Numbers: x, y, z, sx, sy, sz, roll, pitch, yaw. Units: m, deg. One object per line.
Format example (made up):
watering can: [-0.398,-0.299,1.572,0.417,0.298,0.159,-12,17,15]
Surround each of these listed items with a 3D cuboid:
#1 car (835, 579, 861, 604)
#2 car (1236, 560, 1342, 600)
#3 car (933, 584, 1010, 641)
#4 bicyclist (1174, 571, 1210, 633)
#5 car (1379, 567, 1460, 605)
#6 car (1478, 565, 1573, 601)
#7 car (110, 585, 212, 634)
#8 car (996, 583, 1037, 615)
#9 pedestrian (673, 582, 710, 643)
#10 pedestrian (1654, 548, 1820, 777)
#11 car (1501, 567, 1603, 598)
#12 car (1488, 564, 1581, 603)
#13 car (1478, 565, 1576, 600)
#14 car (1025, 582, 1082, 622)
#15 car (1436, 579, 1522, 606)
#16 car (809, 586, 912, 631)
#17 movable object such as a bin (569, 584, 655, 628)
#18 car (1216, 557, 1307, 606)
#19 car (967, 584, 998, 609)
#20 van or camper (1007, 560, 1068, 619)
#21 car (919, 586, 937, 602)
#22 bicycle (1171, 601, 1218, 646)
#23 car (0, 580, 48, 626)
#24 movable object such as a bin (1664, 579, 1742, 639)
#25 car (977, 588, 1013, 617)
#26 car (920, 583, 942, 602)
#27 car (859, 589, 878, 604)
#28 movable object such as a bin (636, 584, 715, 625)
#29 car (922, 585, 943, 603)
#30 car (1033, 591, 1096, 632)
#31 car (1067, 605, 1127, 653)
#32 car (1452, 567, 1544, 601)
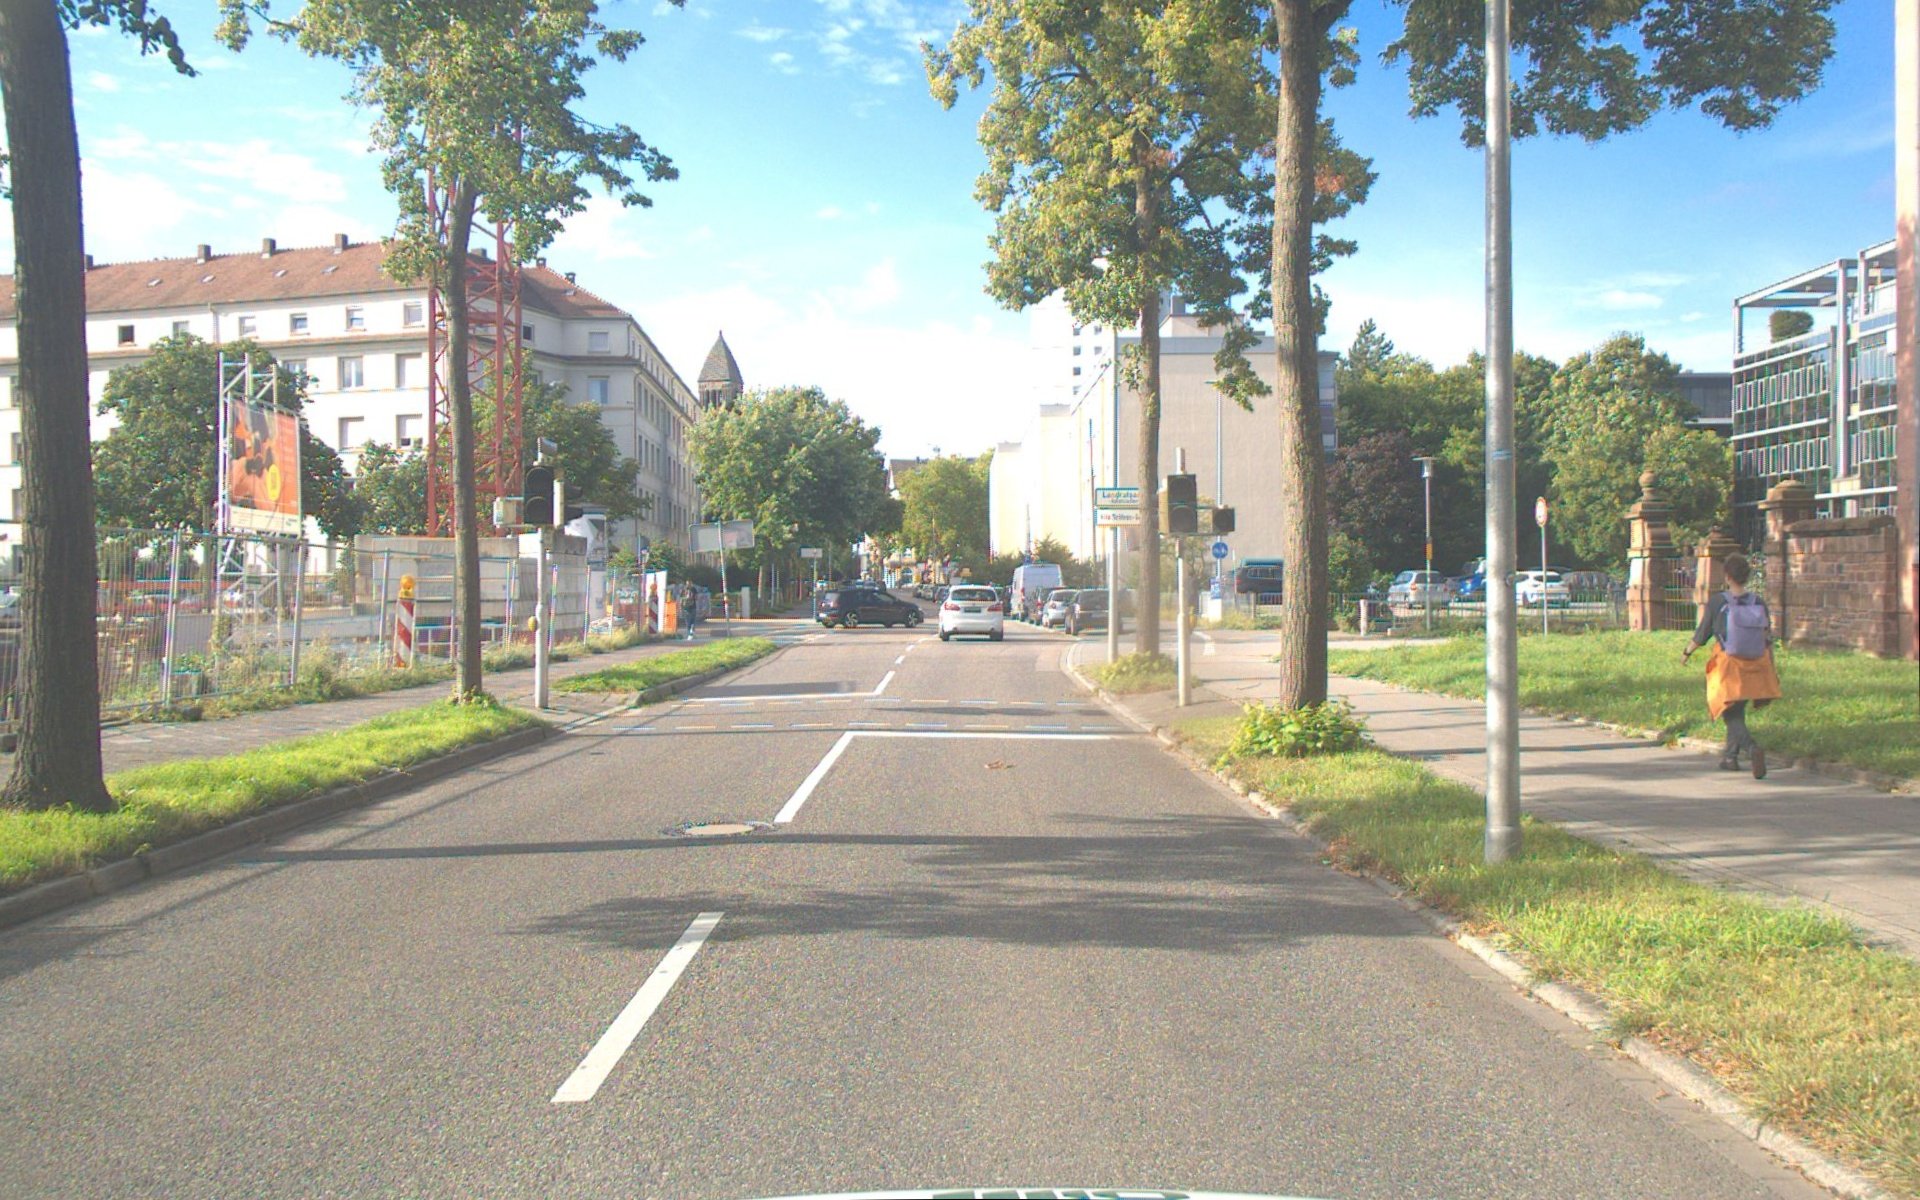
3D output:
car: [-9.487,-0.736,140.731,1.953,2.049,3.999,-1,1,-1]
car: [14.503,-0.878,73.106,4.355,1.650,2.001,-1,1,3]
car: [0.277,0.345,48.245,1.954,1.582,4.271,0,0,-4]
bicyclist: [5.933,0.056,42.364,0.722,1.540,0.874,-3,0,-1]
car: [18.549,-0.573,66.972,1.954,1.467,3.998,-1,1,-3]
car: [27.573,-0.824,80.708,3.906,1.624,1.999,-2,1,-2]
car: [-35.585,0.393,73.802,1.951,2.049,4.003,-1,1,14]
car: [3.015,-0.081,88.876,1.953,1.601,3.999,-1,1,-1]
pedestrian: [-7.916,0.364,48.750,0.989,1.758,1.174,0,-1,-13]
pedestrian: [5.819,0.454,12.421,0.797,1.618,0.769,-3,0,-1]
car: [26.186,-0.784,73.252,3.903,1.333,2.001,0,0,4]
car: [23.023,-0.660,66.436,1.956,1.467,3.993,-2,1,-8]
car: [26.722,-0.836,77.991,3.906,1.512,1.999,-2,1,-2]
car: [4.024,0.071,71.925,1.954,1.644,4.405,-1,1,-4]
car: [27.649,-0.409,88.227,3.907,1.352,1.999,-2,1,-3]
car: [-3.666,0.285,61.407,1.957,1.598,3.992,0,0,30]
movable object such as a bin: [-13.974,0.224,66.477,3.037,1.737,1.549,0,0,14]
car: [14.432,-0.884,79.303,4.033,2.224,2.001,-1,0,3]
car: [1.516,-0.222,111.815,1.953,1.601,3.999,-1,1,-1]
van or camper: [3.601,-0.498,77.870,2.166,2.652,5.367,-1,1,-4]
car: [-3.618,-0.694,186.163,1.953,1.786,4.000,0,0,0]
bicycle: [5.961,0.587,42.189,0.725,1.053,2.761,-3,0,-1]
car: [-43.323,0.110,74.365,1.951,2.049,4.003,0,0,11]
movable object such as a bin: [16.010,0.186,35.681,1.167,1.252,1.092,0,0,-4]
car: [2.106,0.124,99.521,1.953,1.601,3.999,-1,1,-1]
car: [-2.707,-0.716,155.363,1.953,1.786,4.000,0,0,0]
car: [-11.257,-0.450,203.414,2.017,1.692,3.920,-2,1,-7]
movable object such as a bin: [-12.165,0.181,70.790,3.037,1.737,1.411,0,0,13]
car: [-2.751,-0.597,165.390,1.953,1.786,4.000,0,0,0]
car: [4.162,0.448,66.767,1.975,1.500,4.799,-2,0,-3]
car: [4.504,0.925,54.876,1.682,1.522,4.268,0,0,0]
car: [27.032,-0.787,83.193,3.906,1.579,1.999,-2,1,-2]
